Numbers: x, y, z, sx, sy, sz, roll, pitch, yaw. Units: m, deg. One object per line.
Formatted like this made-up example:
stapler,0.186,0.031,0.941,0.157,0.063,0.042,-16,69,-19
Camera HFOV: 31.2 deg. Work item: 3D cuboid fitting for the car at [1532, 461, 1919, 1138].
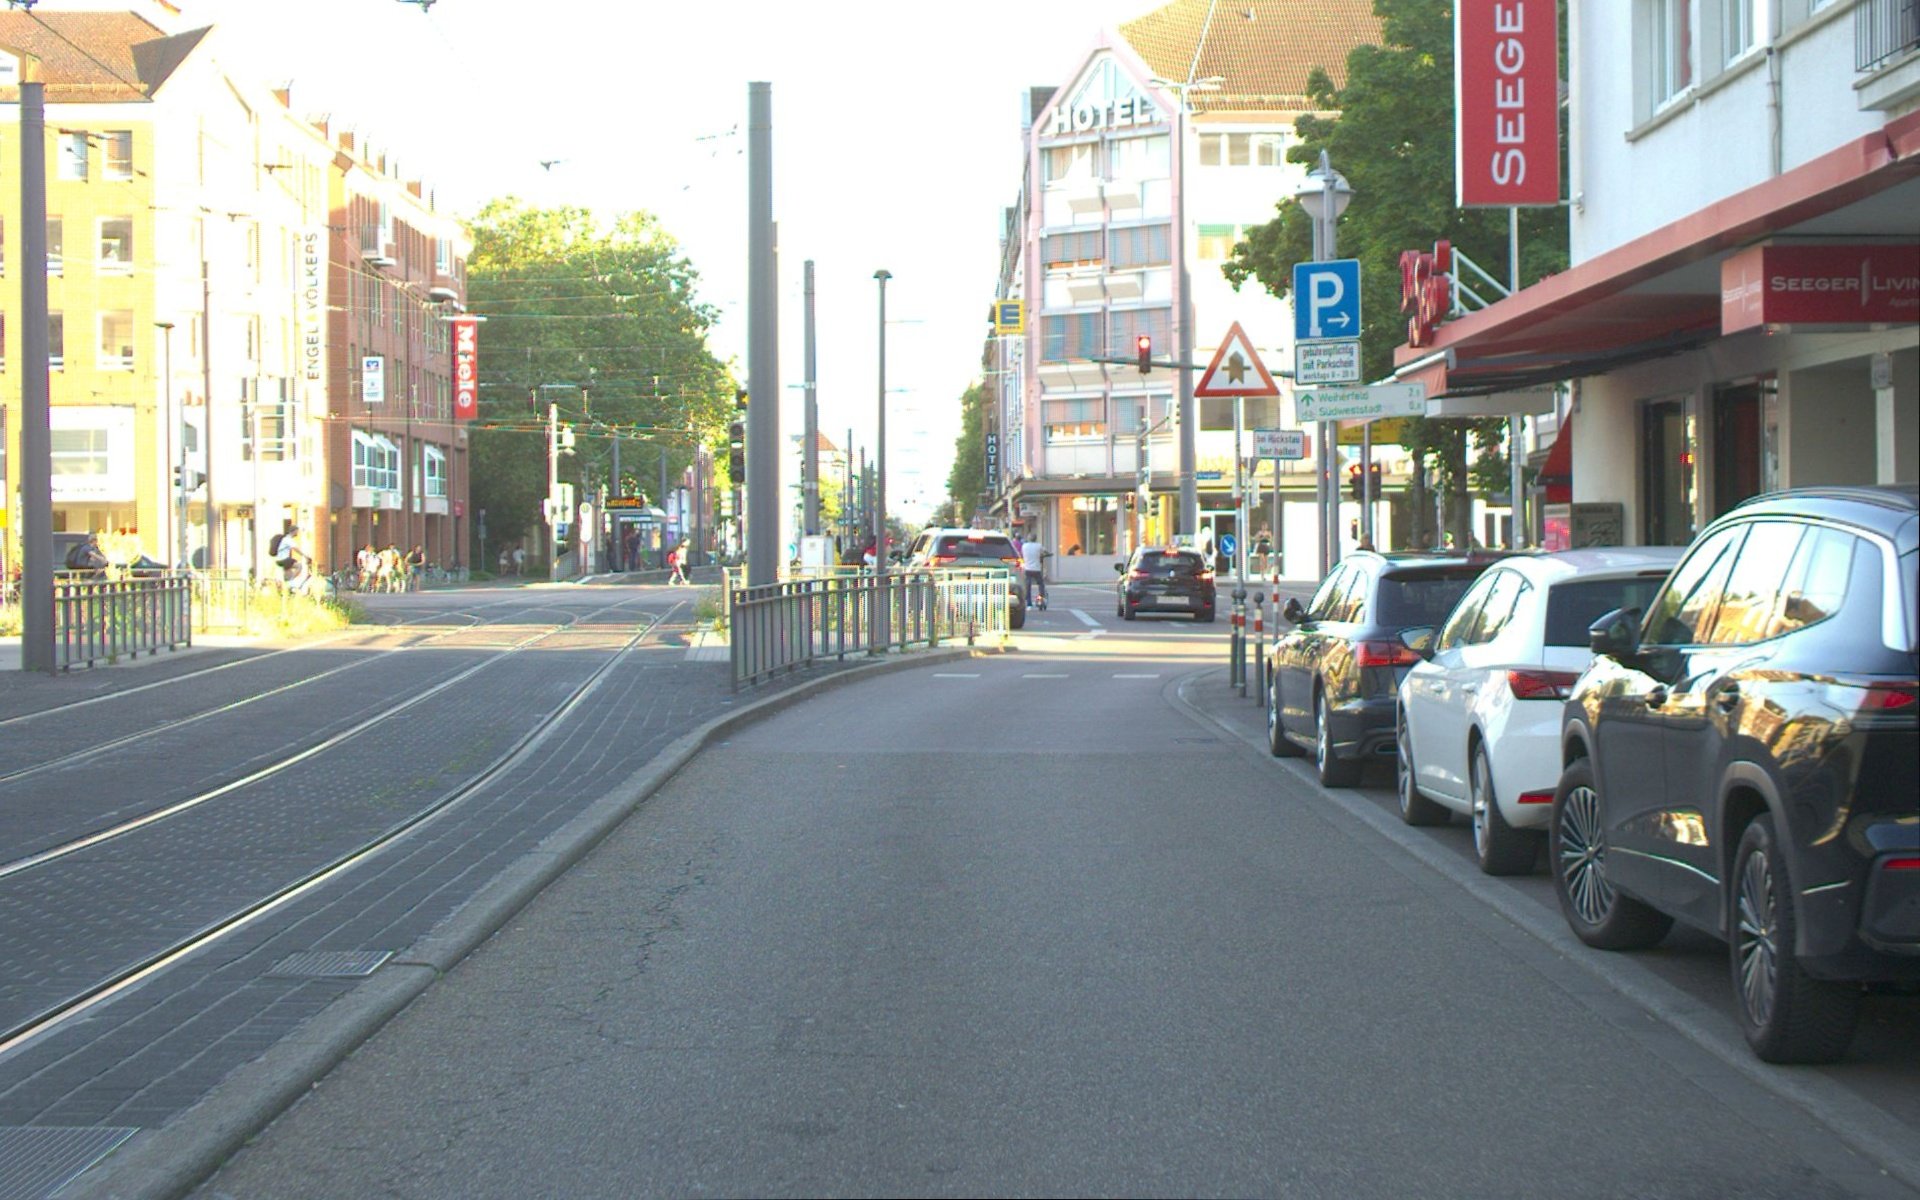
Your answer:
car,3.147,0.500,10.840,1.856,1.695,4.418,1,0,-1

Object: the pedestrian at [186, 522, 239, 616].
pedestrian,-11.101,-0.462,51.066,0.663,1.370,0.652,-1,1,-3

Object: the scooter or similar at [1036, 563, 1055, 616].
scooter or similar,1.778,-0.230,71.459,0.279,1.087,1.257,1,0,6

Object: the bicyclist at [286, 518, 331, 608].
bicyclist,-14.727,-0.847,77.744,0.860,2.007,0.647,1,0,-21

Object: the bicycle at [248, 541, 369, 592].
bicycle,-14.731,-0.761,77.738,2.639,1.096,0.435,1,0,-20

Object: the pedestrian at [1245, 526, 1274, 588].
pedestrian,8.632,-1.241,99.082,0.746,1.772,0.800,1,0,2

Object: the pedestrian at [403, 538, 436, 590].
pedestrian,-21.043,-1.401,133.769,1.093,2.007,1.163,1,0,-3

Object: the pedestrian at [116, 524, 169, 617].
pedestrian,-12.146,-0.441,51.071,0.663,1.370,0.652,0,1,-3

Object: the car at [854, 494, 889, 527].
car,-5.494,-5.548,213.132,1.993,1.894,4.000,1,0,1

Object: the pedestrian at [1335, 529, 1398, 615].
pedestrian,8.067,-0.558,68.248,0.823,1.679,1.049,1,0,-18

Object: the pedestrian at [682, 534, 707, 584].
pedestrian,-9.734,-1.505,126.027,0.805,1.816,0.703,1,0,1

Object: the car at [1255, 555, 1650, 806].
car,3.037,0.442,22.153,1.790,1.408,4.688,1,0,-1

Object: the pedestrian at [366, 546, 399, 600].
pedestrian,-21.923,-1.030,130.517,1.093,2.007,0.909,1,0,-3

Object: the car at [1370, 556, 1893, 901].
car,3.082,0.523,16.592,1.651,1.416,4.191,1,0,0

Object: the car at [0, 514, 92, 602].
car,-22.767,-0.975,80.666,4.559,2.030,2.001,-1,1,-12

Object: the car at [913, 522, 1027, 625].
car,0.198,-0.424,58.629,1.835,1.630,4.090,-1,-1,1

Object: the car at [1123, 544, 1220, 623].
car,4.046,-0.337,66.274,1.764,1.435,4.000,0,1,2

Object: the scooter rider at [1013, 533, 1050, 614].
scooter rider,1.491,-0.550,71.321,0.662,1.641,0.661,1,0,8

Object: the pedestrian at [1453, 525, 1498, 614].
pedestrian,10.462,-0.610,69.798,0.746,1.772,0.973,1,0,1

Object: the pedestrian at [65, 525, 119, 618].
pedestrian,-12.889,-0.428,51.055,0.663,1.370,0.652,0,1,-3

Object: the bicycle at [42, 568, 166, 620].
bicycle,-19.100,-0.135,76.715,2.639,1.096,0.435,1,0,-20

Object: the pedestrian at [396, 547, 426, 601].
pedestrian,-20.704,-0.992,129.557,0.976,2.007,0.909,1,0,-3

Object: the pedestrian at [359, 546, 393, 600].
pedestrian,-21.957,-1.027,129.316,1.093,2.007,0.909,1,0,-3

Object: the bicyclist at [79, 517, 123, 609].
bicyclist,-19.160,-0.824,76.657,0.860,2.007,0.647,1,0,-19
